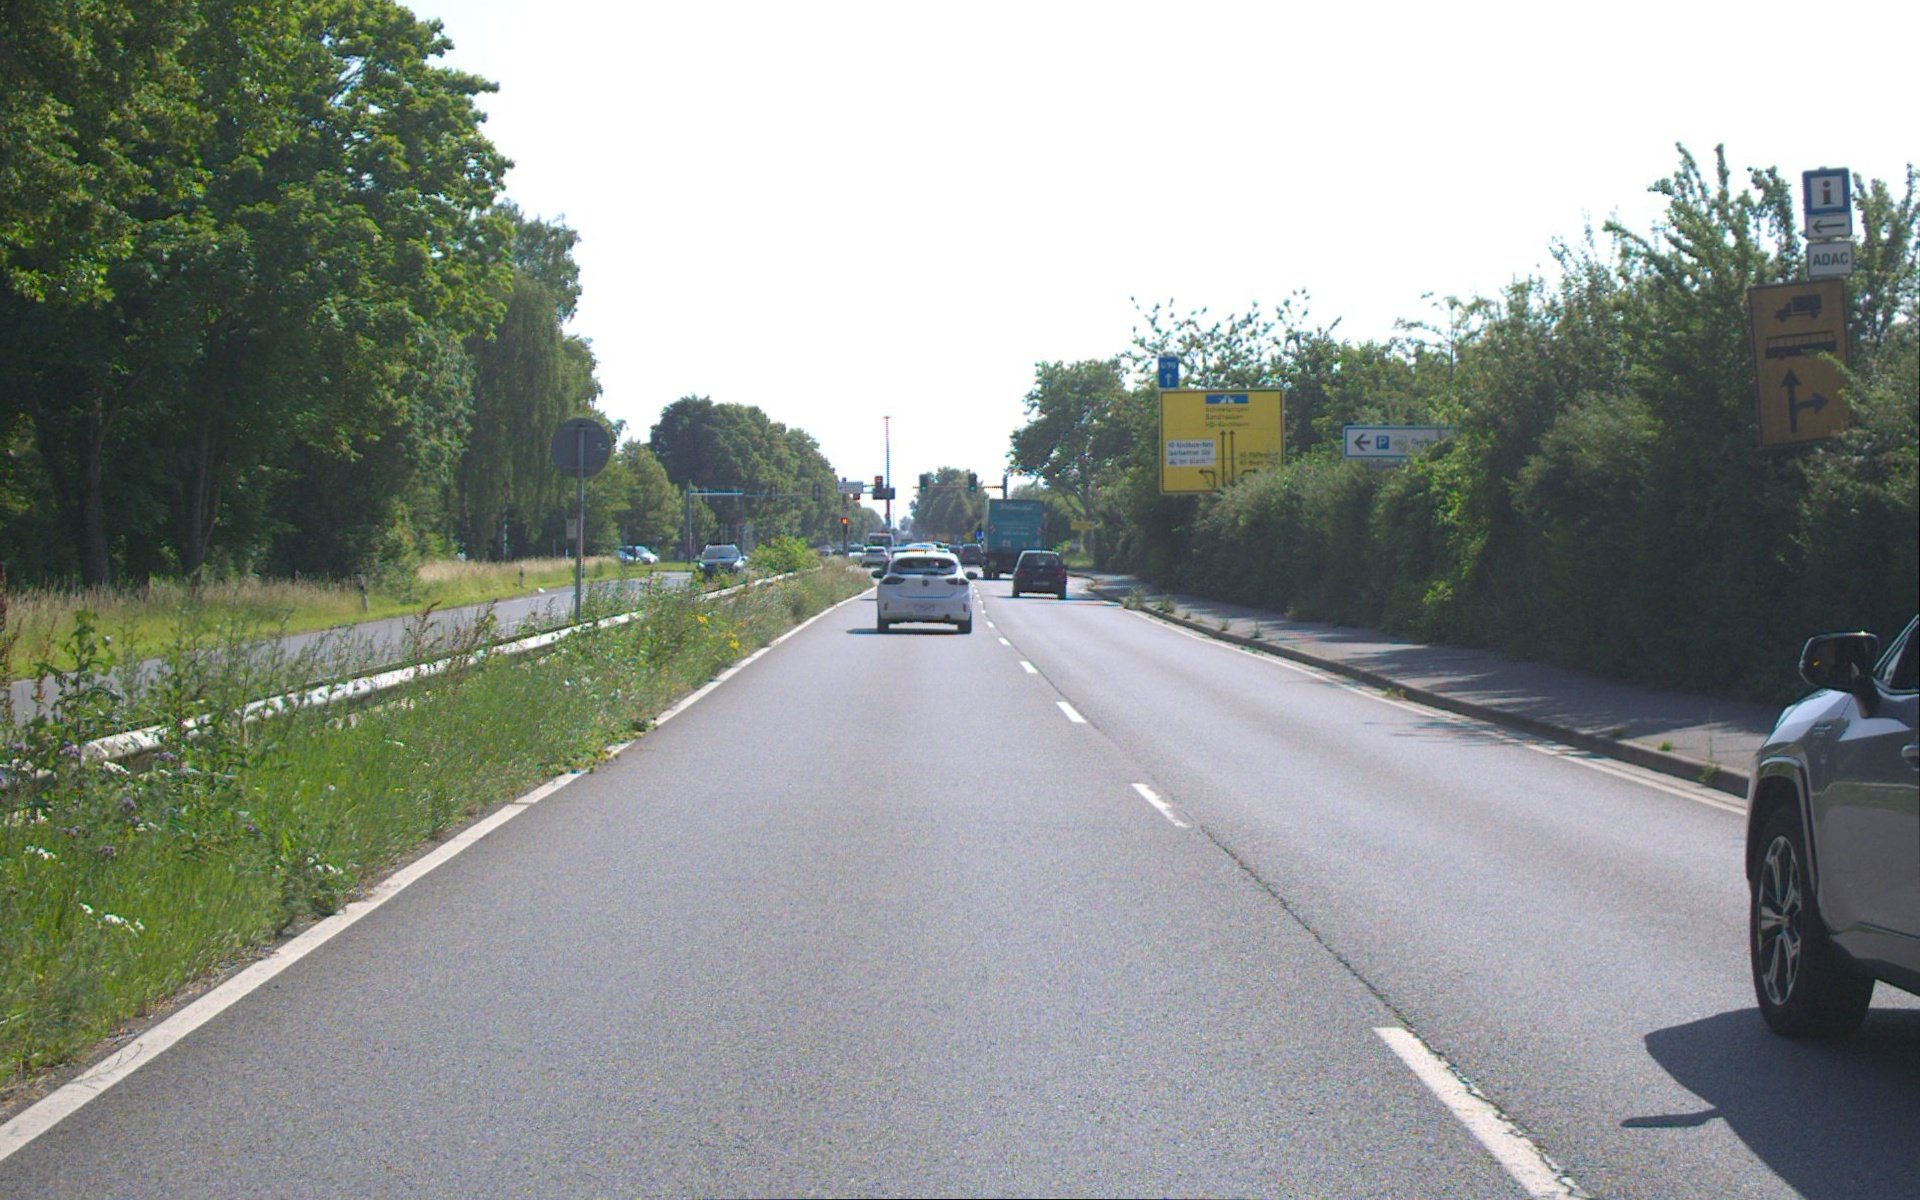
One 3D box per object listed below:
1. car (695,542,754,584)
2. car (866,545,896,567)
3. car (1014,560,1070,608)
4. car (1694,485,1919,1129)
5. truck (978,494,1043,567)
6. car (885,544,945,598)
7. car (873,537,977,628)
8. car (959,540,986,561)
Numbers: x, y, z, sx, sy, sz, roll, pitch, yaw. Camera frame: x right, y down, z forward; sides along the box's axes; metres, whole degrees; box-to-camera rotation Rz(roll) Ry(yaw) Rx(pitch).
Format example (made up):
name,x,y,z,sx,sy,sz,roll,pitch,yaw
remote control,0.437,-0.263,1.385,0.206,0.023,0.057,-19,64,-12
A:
name,x,y,z,sx,sy,sz,roll,pitch,yaw
car,-8.796,-1.382,128.781,1.779,1.525,4.161,-1,1,2
car,-5.415,-2.983,235.015,1.812,1.459,4.971,-1,0,1
car,2.473,-0.476,104.158,1.572,1.410,3.277,1,0,0
car,3.464,0.560,9.177,1.902,1.674,4.684,2,1,-1
truck,2.371,-3.303,163.890,2.891,3.417,9.169,0,1,0
car,-1.241,-0.799,94.784,1.572,1.409,3.277,2,1,0
car,-0.612,-0.338,62.413,1.799,1.547,4.000,1,1,0
car,0.919,-3.614,251.023,1.812,1.459,4.459,-1,0,2
